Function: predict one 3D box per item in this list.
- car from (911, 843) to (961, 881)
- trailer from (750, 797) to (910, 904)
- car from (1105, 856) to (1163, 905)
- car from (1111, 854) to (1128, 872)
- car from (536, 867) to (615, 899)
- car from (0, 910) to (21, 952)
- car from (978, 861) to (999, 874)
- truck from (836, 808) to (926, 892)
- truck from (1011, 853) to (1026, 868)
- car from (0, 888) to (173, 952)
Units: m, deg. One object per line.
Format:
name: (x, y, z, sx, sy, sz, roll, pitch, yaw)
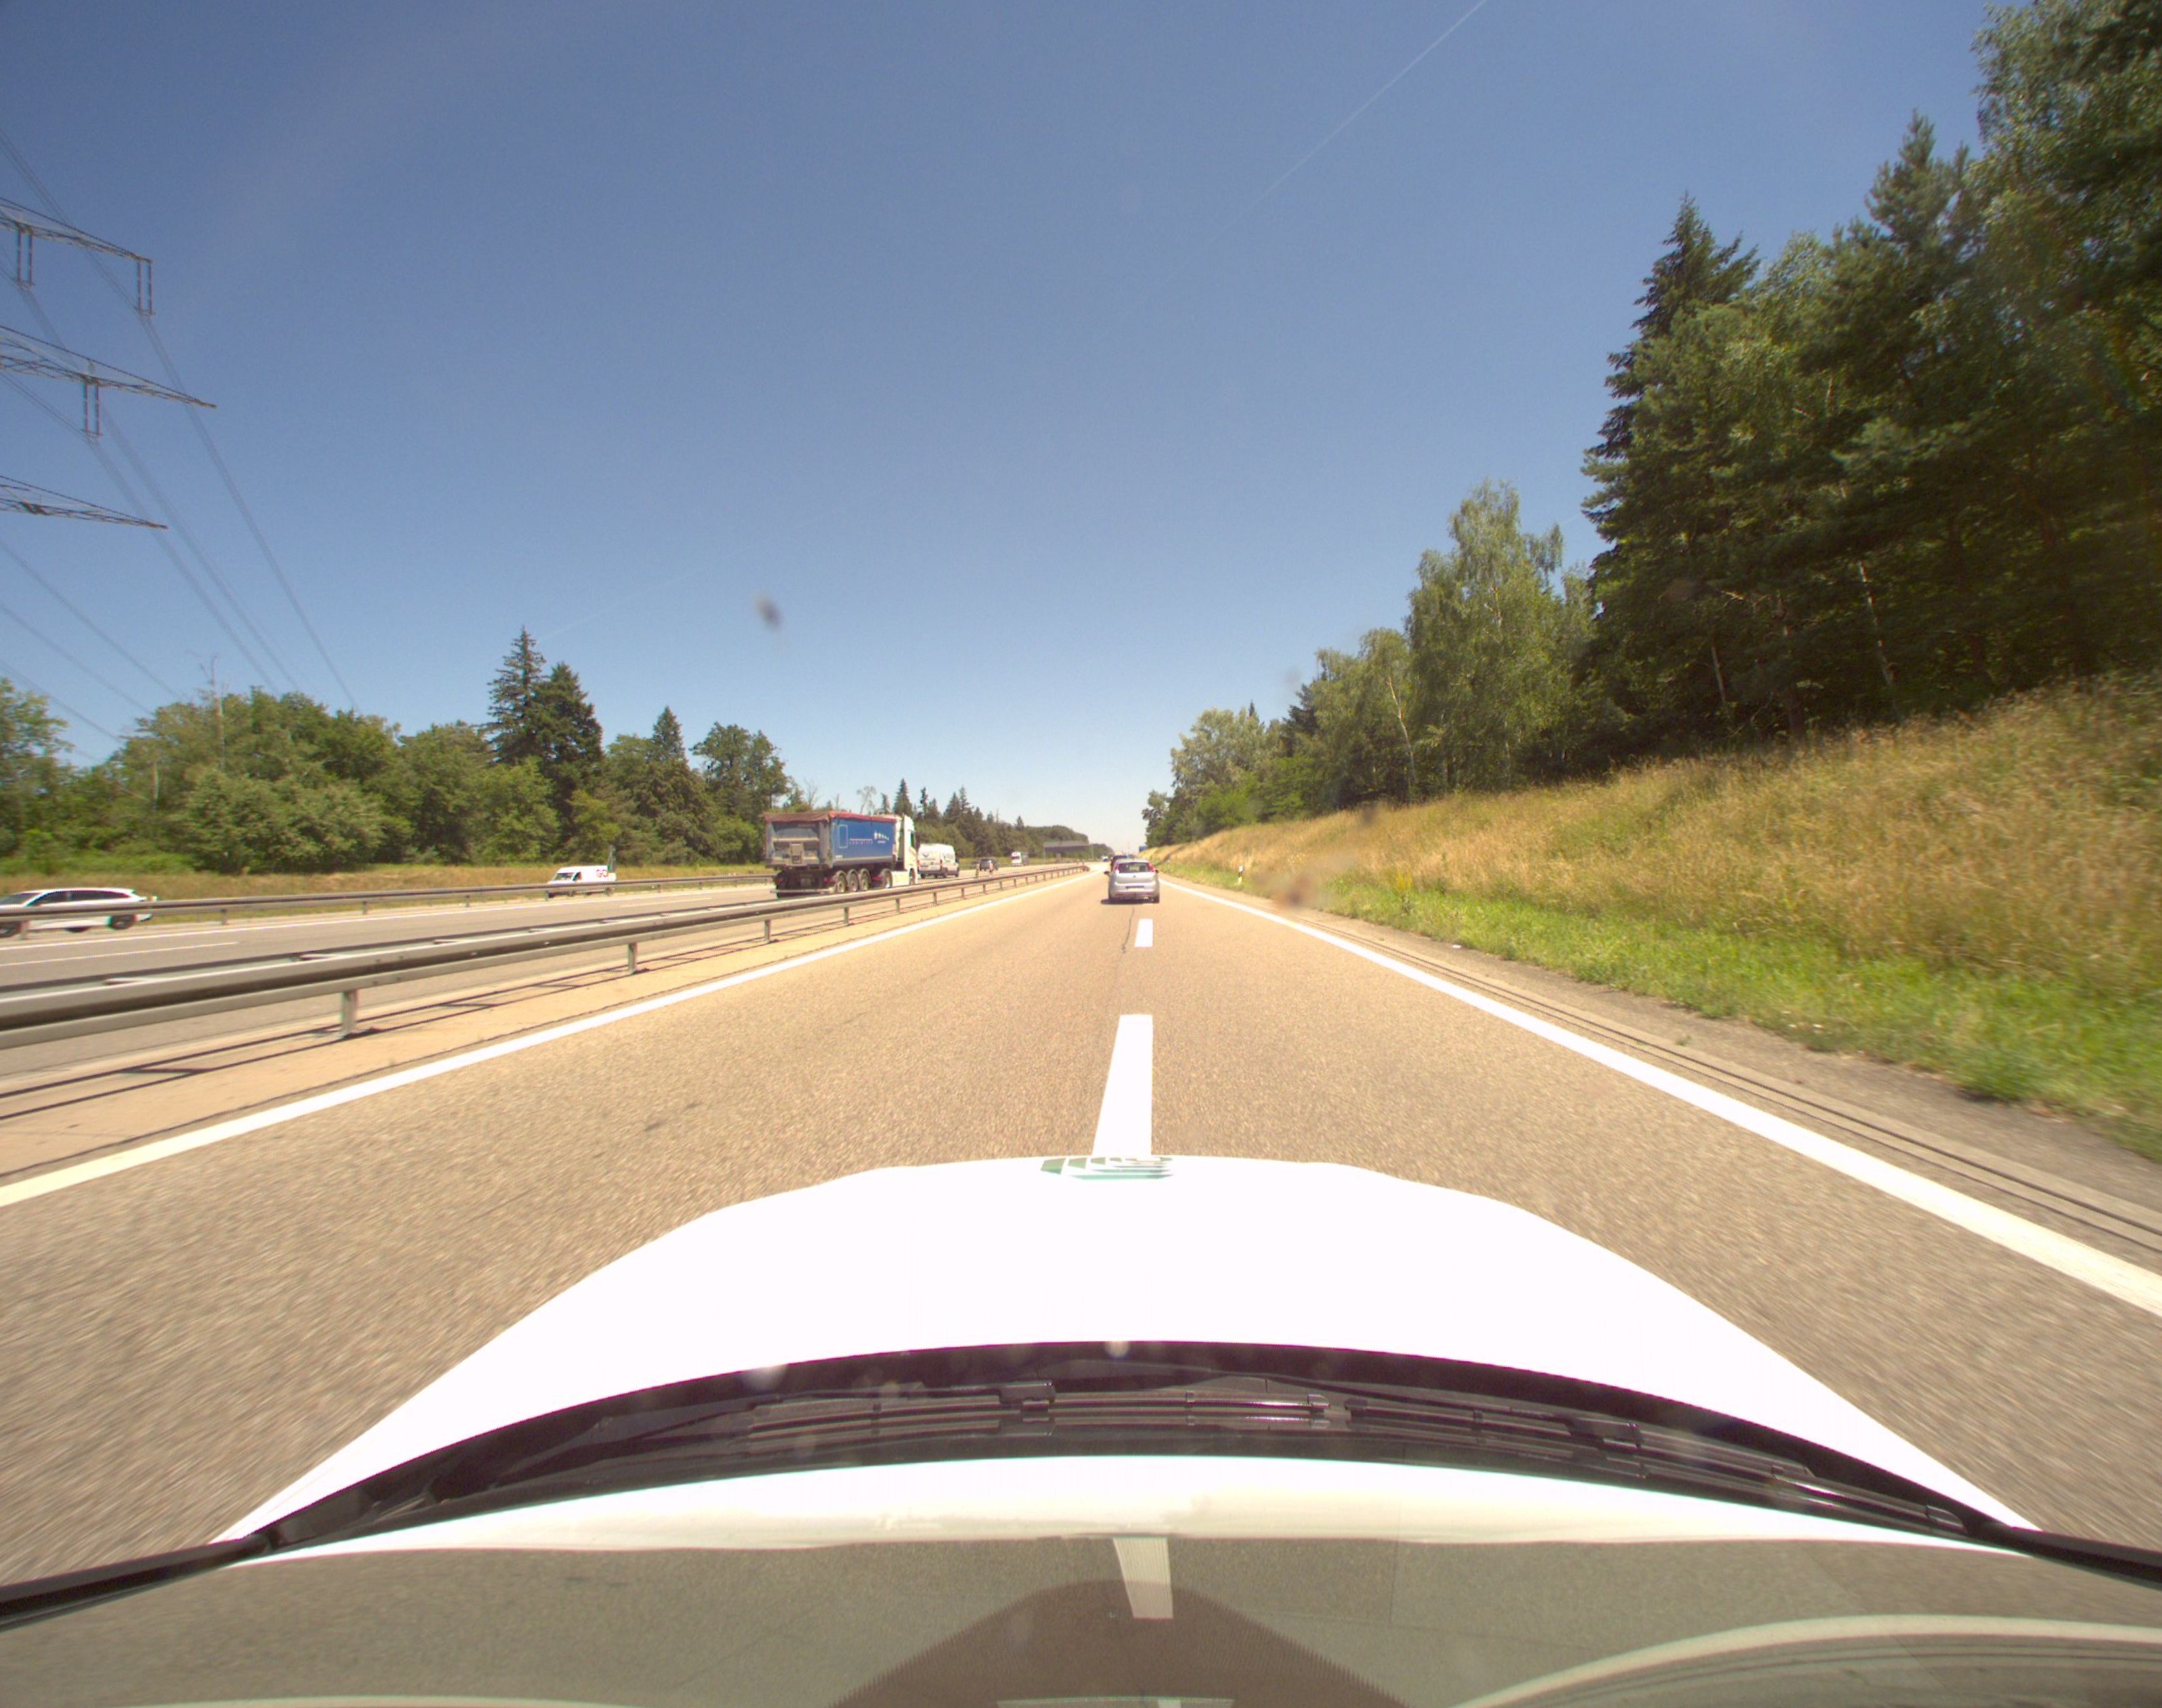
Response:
car: (-11.812, 0.711, 66.748, 2.622, 2.897, 6.478, -1, -2, 2)
trailer: (-10.125, -0.146, 34.427, 2.757, 3.807, 9.900, -1, 0, 5)
car: (1.731, 0.863, 27.661, 1.701, 1.481, 3.397, -2, 0, 0)
car: (3.878, 0.950, 82.645, 1.700, 1.676, 3.398, -1, -2, 1)
car: (-43.235, 2.412, 69.914, 1.984, 2.543, 6.923, -1, -1, 5)
car: (-47.785, 3.338, 33.896, 1.984, 1.783, 4.005, -1, -1, 5)
car: (-11.799, 1.762, 103.980, 1.985, 1.618, 4.002, -1, -2, 3)
truck: (-9.617, -0.179, 39.622, 2.743, 3.807, 4.629, -1, 0, 5)
truck: (-18.051, 1.933, 236.131, 2.573, 4.127, 9.335, -1, -2, 5)
car: (-32.521, 2.037, 25.754, 1.984, 1.783, 4.819, -1, -1, 5)
